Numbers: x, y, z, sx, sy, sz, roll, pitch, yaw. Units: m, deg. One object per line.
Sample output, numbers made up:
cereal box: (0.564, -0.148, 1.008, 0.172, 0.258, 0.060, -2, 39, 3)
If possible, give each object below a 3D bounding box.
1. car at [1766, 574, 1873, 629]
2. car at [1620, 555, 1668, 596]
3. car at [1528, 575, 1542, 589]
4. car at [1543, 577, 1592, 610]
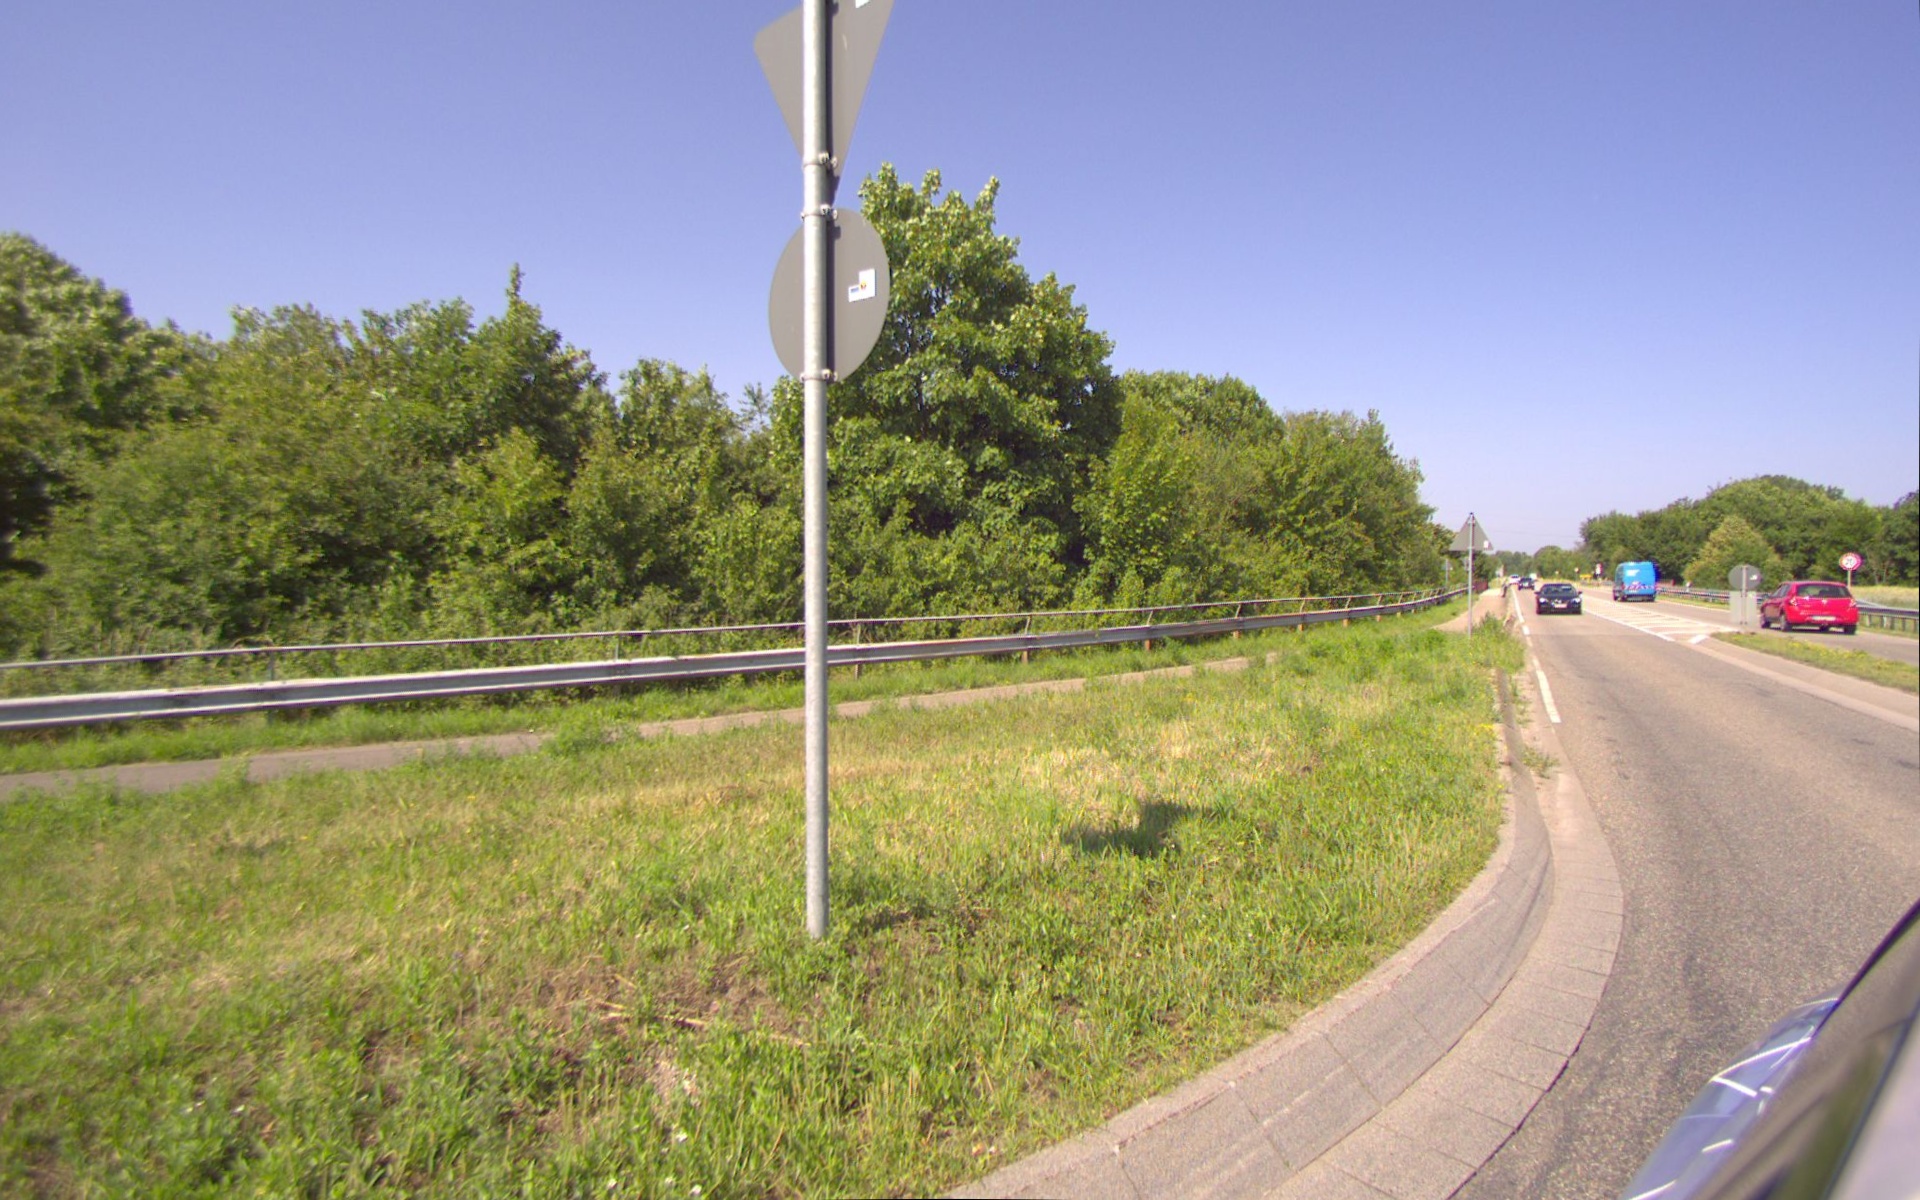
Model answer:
car: (25.677, -0.004, 30.366, 1.617, 1.509, 3.766, 1, 2, 28)
car: (47.004, -1.690, 69.677, 1.982, 2.643, 7.218, 2, 2, 28)
car: (73.191, -2.262, 128.833, 1.449, 1.668, 3.500, -1, 0, 29)
car: (28.276, -0.317, 47.185, 1.792, 1.415, 4.137, -1, 1, 30)
